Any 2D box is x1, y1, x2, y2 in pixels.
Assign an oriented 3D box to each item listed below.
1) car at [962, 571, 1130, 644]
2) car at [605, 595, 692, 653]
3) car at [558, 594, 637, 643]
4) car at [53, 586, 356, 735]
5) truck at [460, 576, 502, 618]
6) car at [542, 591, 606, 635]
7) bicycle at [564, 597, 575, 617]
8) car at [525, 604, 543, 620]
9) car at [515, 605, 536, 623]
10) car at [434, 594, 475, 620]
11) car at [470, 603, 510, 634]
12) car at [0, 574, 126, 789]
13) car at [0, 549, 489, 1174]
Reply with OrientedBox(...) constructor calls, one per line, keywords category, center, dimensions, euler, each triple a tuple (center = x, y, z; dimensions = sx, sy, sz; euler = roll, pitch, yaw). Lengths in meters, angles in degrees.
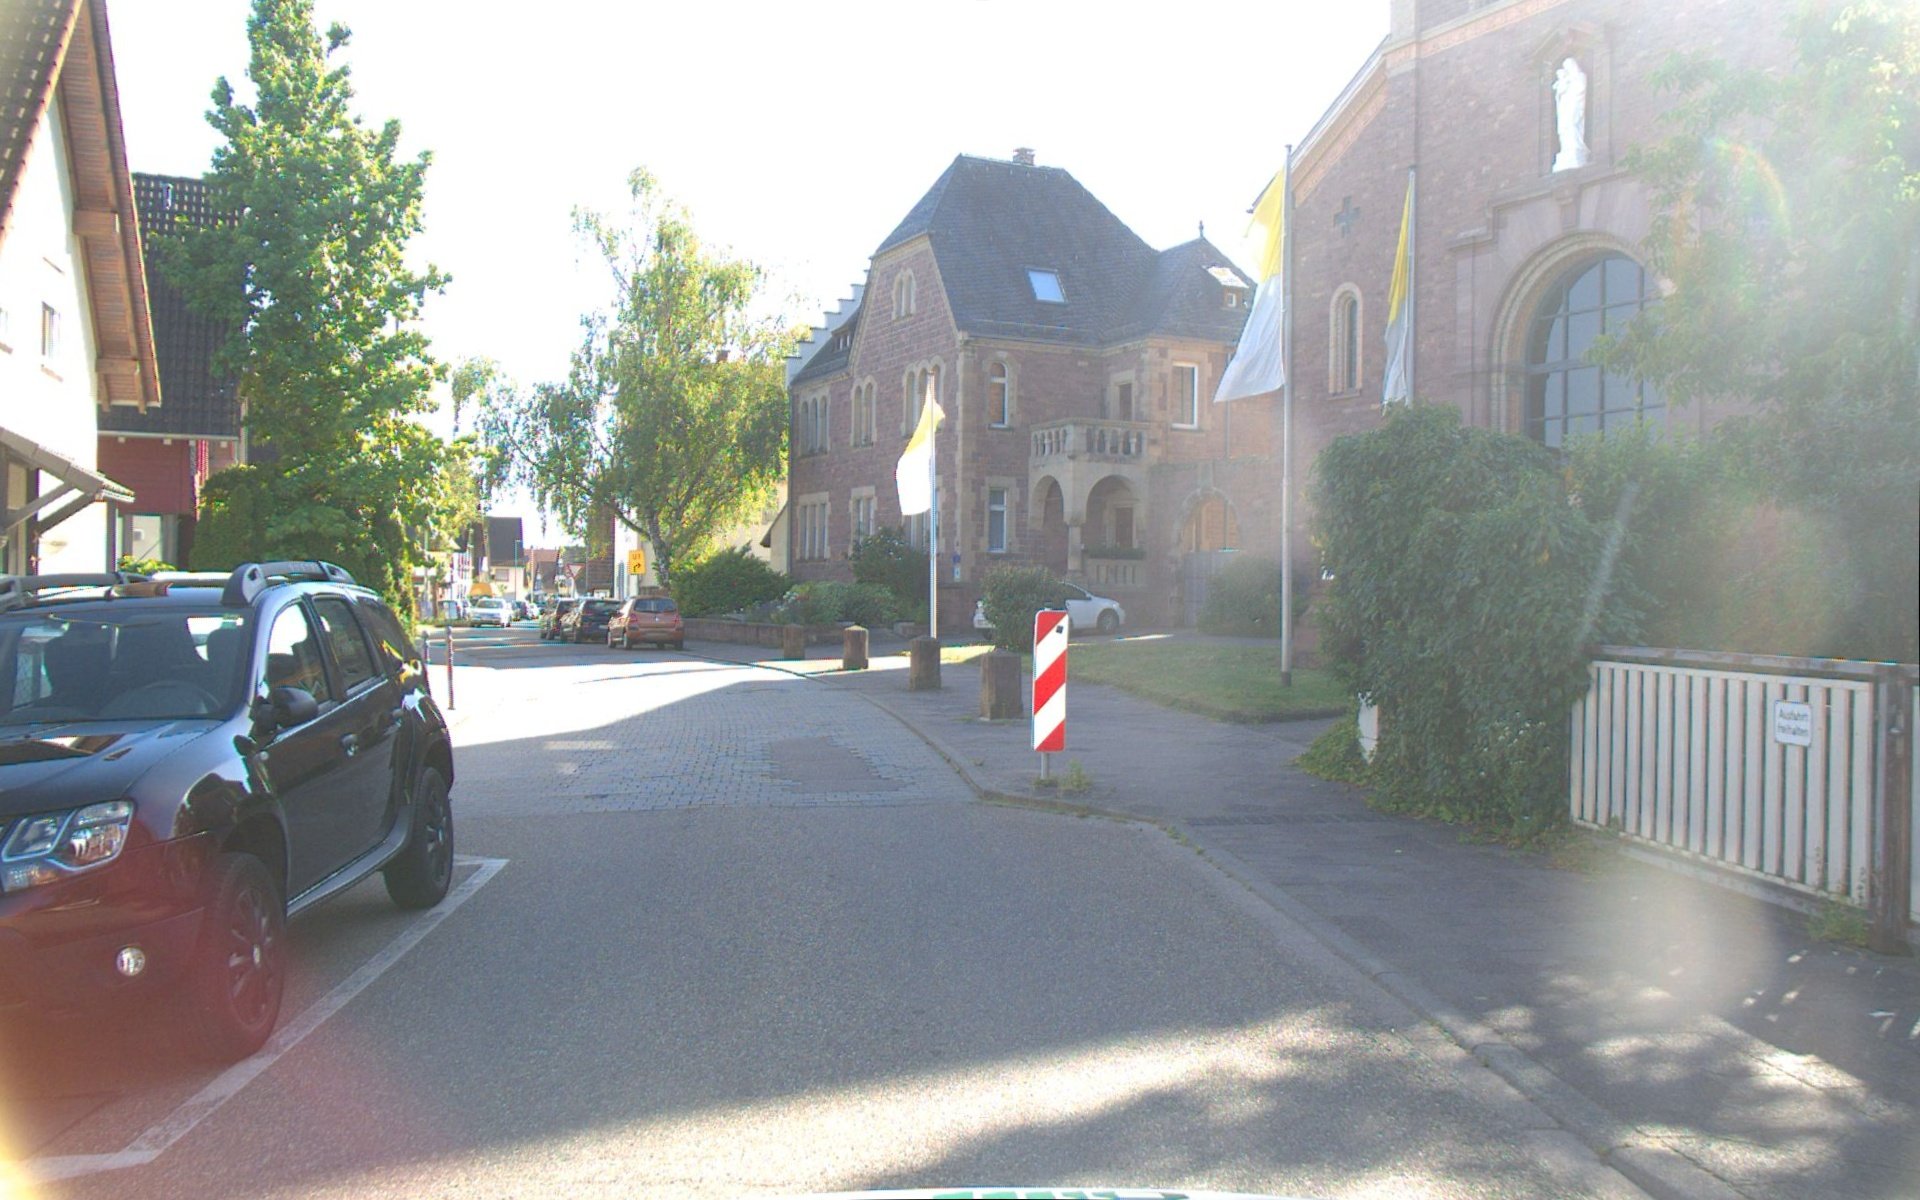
OrientedBox(category="car", center=(2.218, 0.191, 42.628), dimensions=(3.856, 1.522, 1.886), euler=(-5, 1, -29))
OrientedBox(category="car", center=(-8.797, 0.630, 46.470), dimensions=(1.626, 1.504, 3.906), euler=(-1, 1, -23))
OrientedBox(category="car", center=(-11.932, 0.573, 54.265), dimensions=(1.783, 1.461, 4.255), euler=(-1, 1, -23))
OrientedBox(category="car", center=(-9.133, 0.648, 20.453), dimensions=(1.780, 1.623, 4.445), euler=(0, 1, -1))
OrientedBox(category="truck", center=(-33.812, -0.184, 116.946), dimensions=(2.227, 2.919, 5.767), euler=(-1, 0, -10))
OrientedBox(category="car", center=(-13.713, 0.416, 58.614), dimensions=(1.780, 1.461, 4.262), euler=(-1, 1, -19))
OrientedBox(category="bicycle", center=(-23.978, 0.419, 101.607), dimensions=(0.425, 1.197, 1.826), euler=(-1, 0, -5))
OrientedBox(category="car", center=(-38.796, 1.090, 150.619), dimensions=(1.561, 1.468, 3.602), euler=(0, 0, -13))
OrientedBox(category="car", center=(-36.474, 1.171, 138.926), dimensions=(1.561, 1.468, 3.602), euler=(0, 0, -13))
OrientedBox(category="car", center=(-30.041, 0.417, 98.309), dimensions=(1.834, 1.532, 4.097), euler=(-1, 0, -10))
OrientedBox(category="car", center=(-23.857, 0.922, 84.047), dimensions=(1.642, 1.427, 3.880), euler=(-2, 1, -12))
OrientedBox(category="car", center=(-8.892, 0.598, 12.976), dimensions=(3.927, 1.617, 1.989), euler=(0, 1, -20))
OrientedBox(category="car", center=(-3.311, 0.764, 6.699), dimensions=(1.797, 1.700, 4.348), euler=(-4, 0, -5))
